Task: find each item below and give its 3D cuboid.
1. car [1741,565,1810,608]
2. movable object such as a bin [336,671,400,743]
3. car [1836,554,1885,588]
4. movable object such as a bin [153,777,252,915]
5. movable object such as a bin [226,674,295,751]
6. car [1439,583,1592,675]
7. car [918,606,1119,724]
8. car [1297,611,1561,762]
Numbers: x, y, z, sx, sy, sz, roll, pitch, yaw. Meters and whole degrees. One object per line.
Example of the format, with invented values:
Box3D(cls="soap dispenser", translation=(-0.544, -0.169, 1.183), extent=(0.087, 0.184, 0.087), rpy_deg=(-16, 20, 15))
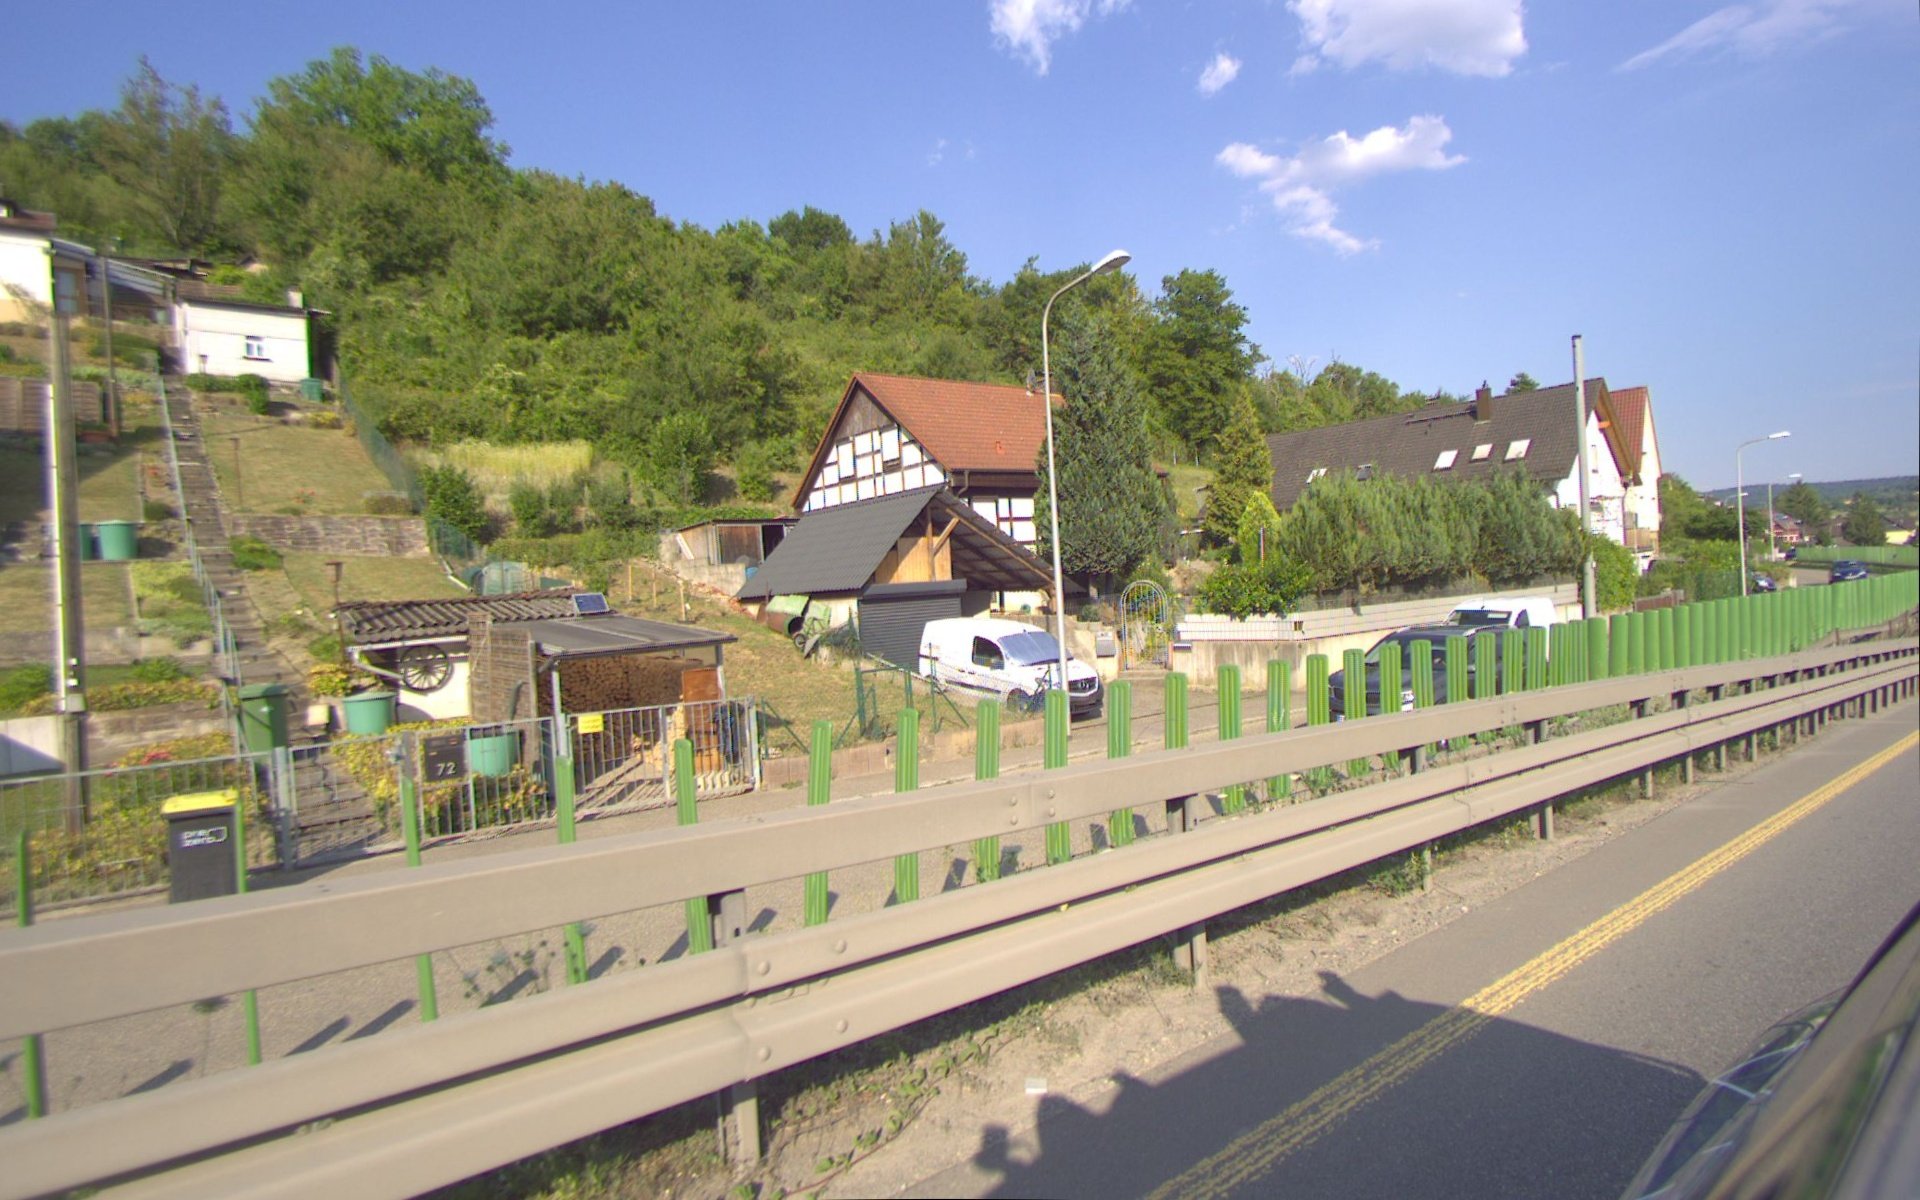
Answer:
Box3D(cls="car", translation=(40.334, -0.643, 50.030), extent=(3.930, 2.039, 1.997), rpy_deg=(-1, 0, -41))
Box3D(cls="movable object such as a bin", translation=(-8.488, 1.516, 14.499), extent=(0.668, 0.912, 0.687), rpy_deg=(0, 0, -42))
Box3D(cls="car", translation=(56.066, -1.771, 63.003), extent=(3.934, 2.039, 1.995), rpy_deg=(-1, 0, -44))
Box3D(cls="movable object such as a bin", translation=(-6.832, 2.183, 9.121), extent=(0.665, 1.014, 0.723), rpy_deg=(-1, -2, -41))
Box3D(cls="movable object such as a bin", translation=(-9.376, 1.489, 13.554), extent=(0.668, 0.912, 0.790), rpy_deg=(0, 0, -42))
Box3D(cls="car", translation=(13.141, 0.638, 23.861), extent=(4.211, 1.967, 1.822), rpy_deg=(0, -2, -42))
Box3D(cls="car", translation=(1.065, 1.159, 19.945), extent=(1.719, 1.861, 3.996), rpy_deg=(-2, 3, -39))
Box3D(cls="car", translation=(7.373, 1.192, 15.745), extent=(4.417, 1.807, 1.867), rpy_deg=(-3, 2, -37))
